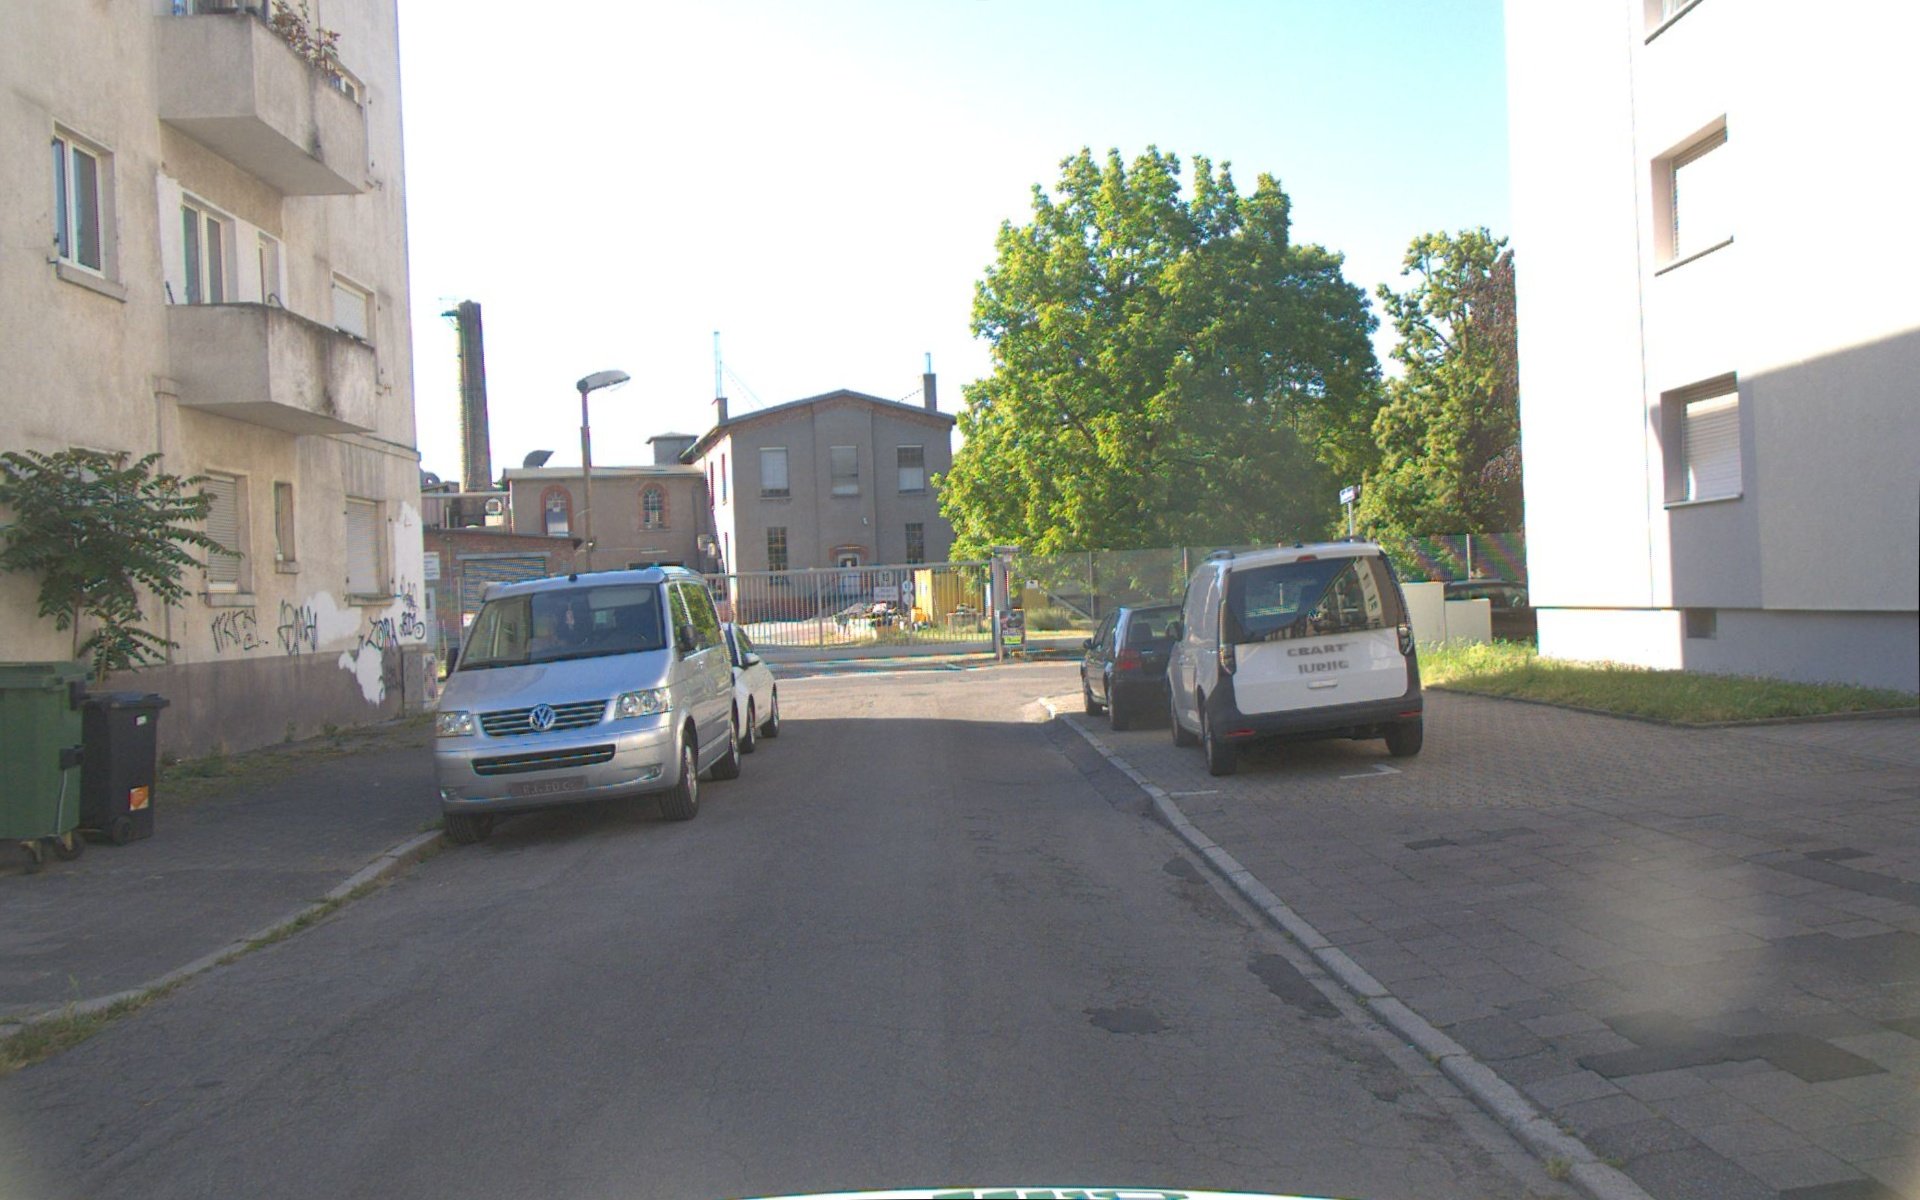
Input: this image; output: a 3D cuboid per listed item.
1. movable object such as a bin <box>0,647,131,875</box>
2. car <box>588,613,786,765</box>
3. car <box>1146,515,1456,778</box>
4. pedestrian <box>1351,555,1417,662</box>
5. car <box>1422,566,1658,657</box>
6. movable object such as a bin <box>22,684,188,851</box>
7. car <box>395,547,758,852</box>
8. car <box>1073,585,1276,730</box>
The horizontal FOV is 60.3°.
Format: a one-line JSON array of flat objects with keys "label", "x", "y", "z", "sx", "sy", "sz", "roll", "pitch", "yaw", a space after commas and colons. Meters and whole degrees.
[{"label": "movable object such as a bin", "x": -6.372, "y": 1.043, "z": 10.928, "sx": 1.230, "sy": 1.401, "sz": 1.044, "roll": -2, "pitch": 0, "yaw": -2}, {"label": "car", "x": -3.141, "y": 0.968, "z": 19.696, "sx": 1.652, "sy": 1.484, "sz": 3.721, "roll": -4, "pitch": 0, "yaw": 0}, {"label": "car", "x": 2.904, "y": 0.359, "z": 15.121, "sx": 1.761, "sy": 1.877, "sz": 4.539, "roll": -5, "pitch": 0, "yaw": 0}, {"label": "pedestrian", "x": 7.357, "y": 0.139, "z": 28.698, "sx": 0.829, "sy": 1.802, "sz": 0.641, "roll": -3, "pitch": 0, "yaw": -30}, {"label": "car", "x": 11.267, "y": 0.220, "z": 32.243, "sx": 3.992, "sy": 1.575, "sz": 1.622, "roll": -2, "pitch": 0, "yaw": -4}, {"label": "movable object such as a bin", "x": -6.144, "y": 1.184, "z": 11.926, "sx": 0.757, "sy": 1.098, "sz": 0.816, "roll": -2, "pitch": 0, "yaw": -2}, {"label": "car", "x": -2.963, "y": 0.696, "z": 13.935, "sx": 1.912, "sy": 1.966, "sz": 4.854, "roll": -5, "pitch": 0, "yaw": -2}, {"label": "car", "x": 2.536, "y": 0.645, "z": 20.470, "sx": 1.762, "sy": 1.439, "sz": 4.047, "roll": -5, "pitch": 0, "yaw": -2}]
